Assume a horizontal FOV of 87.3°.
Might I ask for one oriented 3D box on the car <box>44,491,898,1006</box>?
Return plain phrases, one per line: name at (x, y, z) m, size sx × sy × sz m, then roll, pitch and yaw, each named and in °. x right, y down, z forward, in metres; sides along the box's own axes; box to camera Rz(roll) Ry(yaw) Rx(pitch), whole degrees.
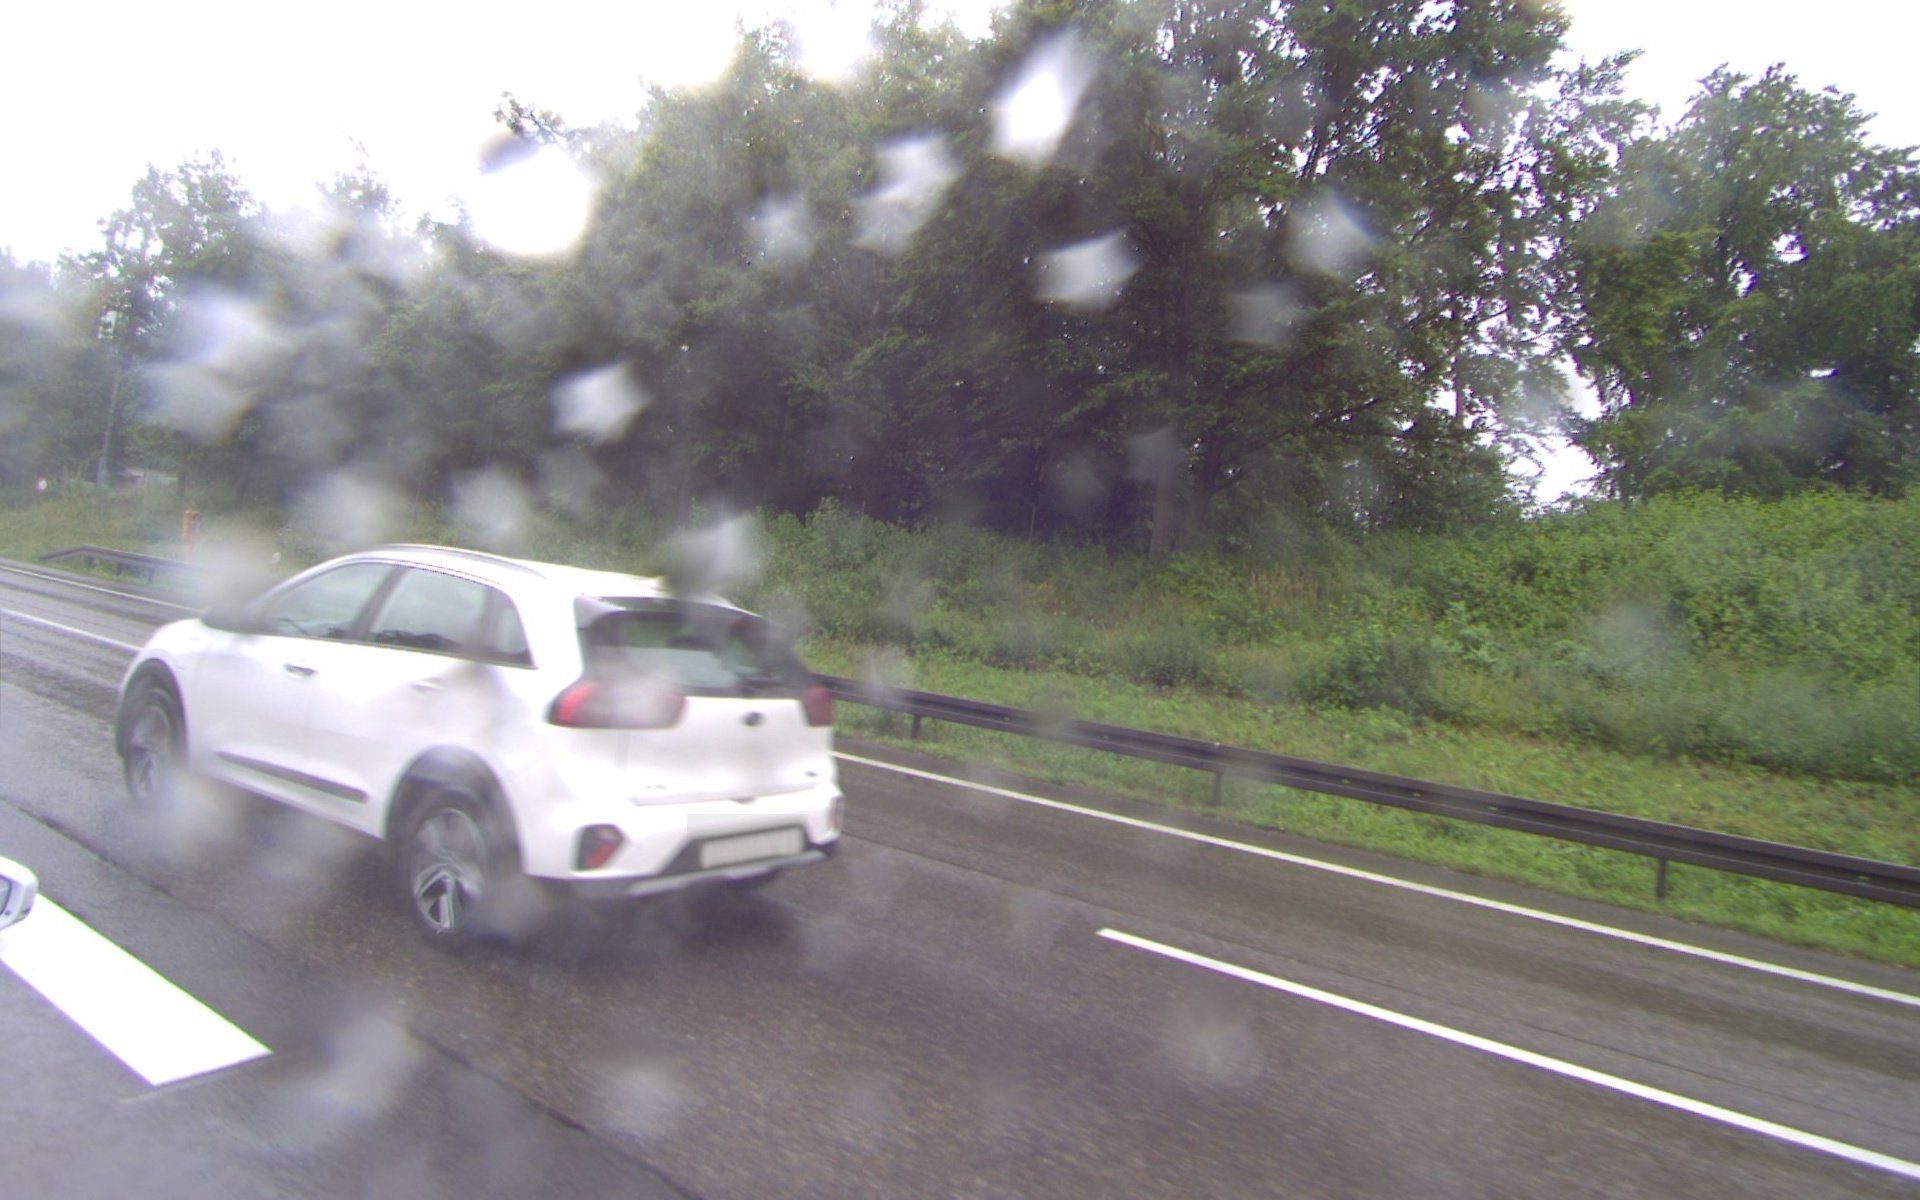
car at (-2.680, 0.471, 5.265) m, size 4.270 × 1.540 × 1.850 m, roll 7°, pitch -2°, yaw 31°
